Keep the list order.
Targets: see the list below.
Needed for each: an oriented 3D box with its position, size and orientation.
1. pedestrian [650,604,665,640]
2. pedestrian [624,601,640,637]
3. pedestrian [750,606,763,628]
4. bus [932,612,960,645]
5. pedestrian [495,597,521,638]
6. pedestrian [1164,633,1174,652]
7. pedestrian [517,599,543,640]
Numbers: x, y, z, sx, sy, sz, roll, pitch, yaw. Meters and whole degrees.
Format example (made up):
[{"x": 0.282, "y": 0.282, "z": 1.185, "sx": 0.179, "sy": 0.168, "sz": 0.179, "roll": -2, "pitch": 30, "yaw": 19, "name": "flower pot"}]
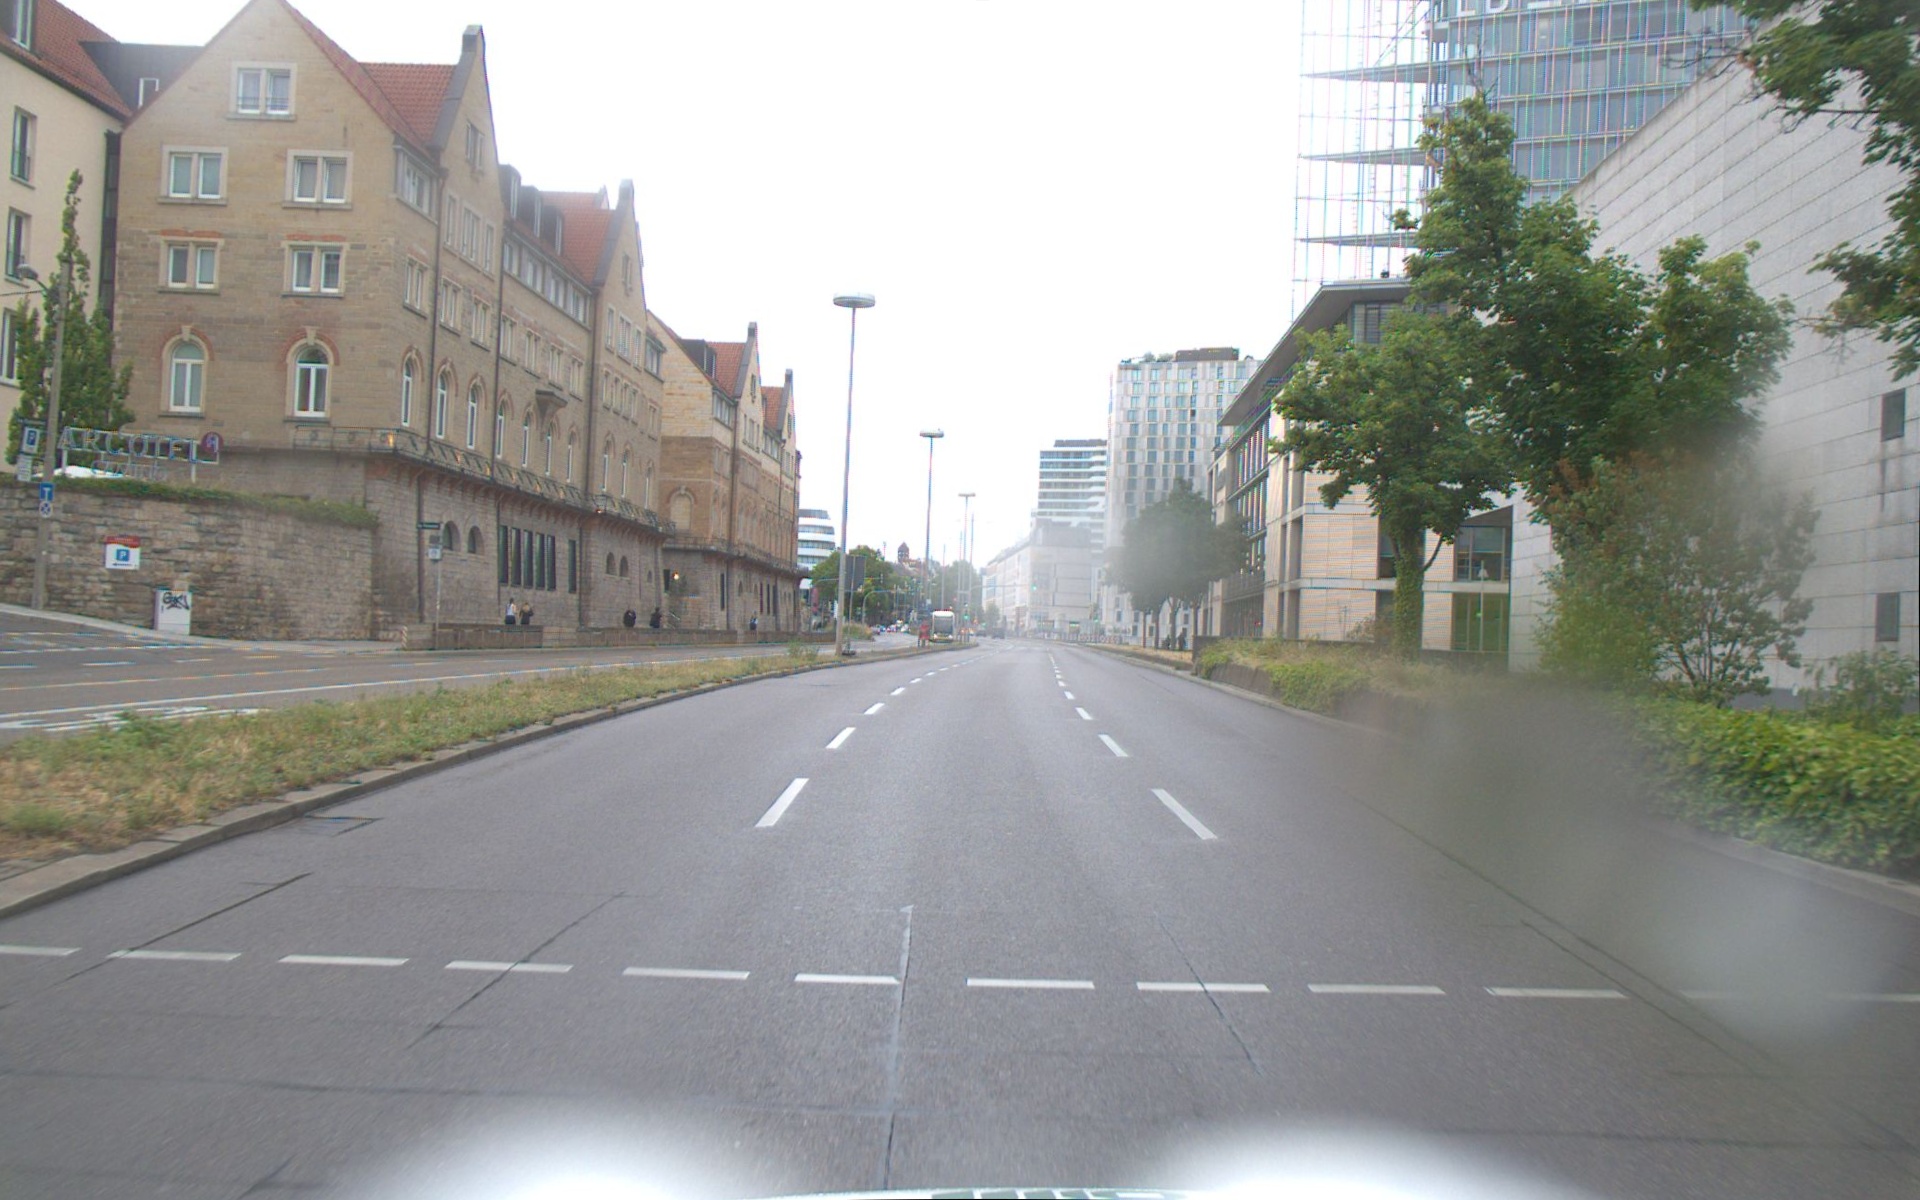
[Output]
[{"x": -15.343, "y": 1.110, "z": 83.886, "sx": 0.627, "sy": 1.776, "sz": 0.621, "roll": 1, "pitch": 0, "yaw": 1, "name": "pedestrian"}, {"x": -16.137, "y": 0.939, "z": 81.320, "sx": 0.627, "sy": 1.776, "sz": 0.621, "roll": 1, "pitch": 0, "yaw": 1, "name": "pedestrian"}, {"x": -14.225, "y": 1.171, "z": 115.687, "sx": 0.738, "sy": 1.503, "sz": 0.714, "roll": 1, "pitch": 0, "yaw": 2, "name": "pedestrian"}, {"x": -1.539, "y": 3.310, "z": 189.861, "sx": 2.642, "sy": 3.622, "sz": 10.095, "roll": 1, "pitch": -1, "yaw": 2, "name": "bus"}, {"x": -16.940, "y": 0.652, "z": 62.028, "sx": 0.738, "sy": 1.503, "sz": 0.714, "roll": 1, "pitch": 0, "yaw": 2, "name": "pedestrian"}, {"x": 18.248, "y": 3.695, "z": 144.540, "sx": 0.540, "sy": 1.605, "sz": 0.668, "roll": 1, "pitch": 0, "yaw": 37, "name": "pedestrian"}, {"x": -16.103, "y": 0.716, "z": 61.990, "sx": 0.738, "sy": 1.503, "sz": 0.714, "roll": 1, "pitch": 0, "yaw": 2, "name": "pedestrian"}]
